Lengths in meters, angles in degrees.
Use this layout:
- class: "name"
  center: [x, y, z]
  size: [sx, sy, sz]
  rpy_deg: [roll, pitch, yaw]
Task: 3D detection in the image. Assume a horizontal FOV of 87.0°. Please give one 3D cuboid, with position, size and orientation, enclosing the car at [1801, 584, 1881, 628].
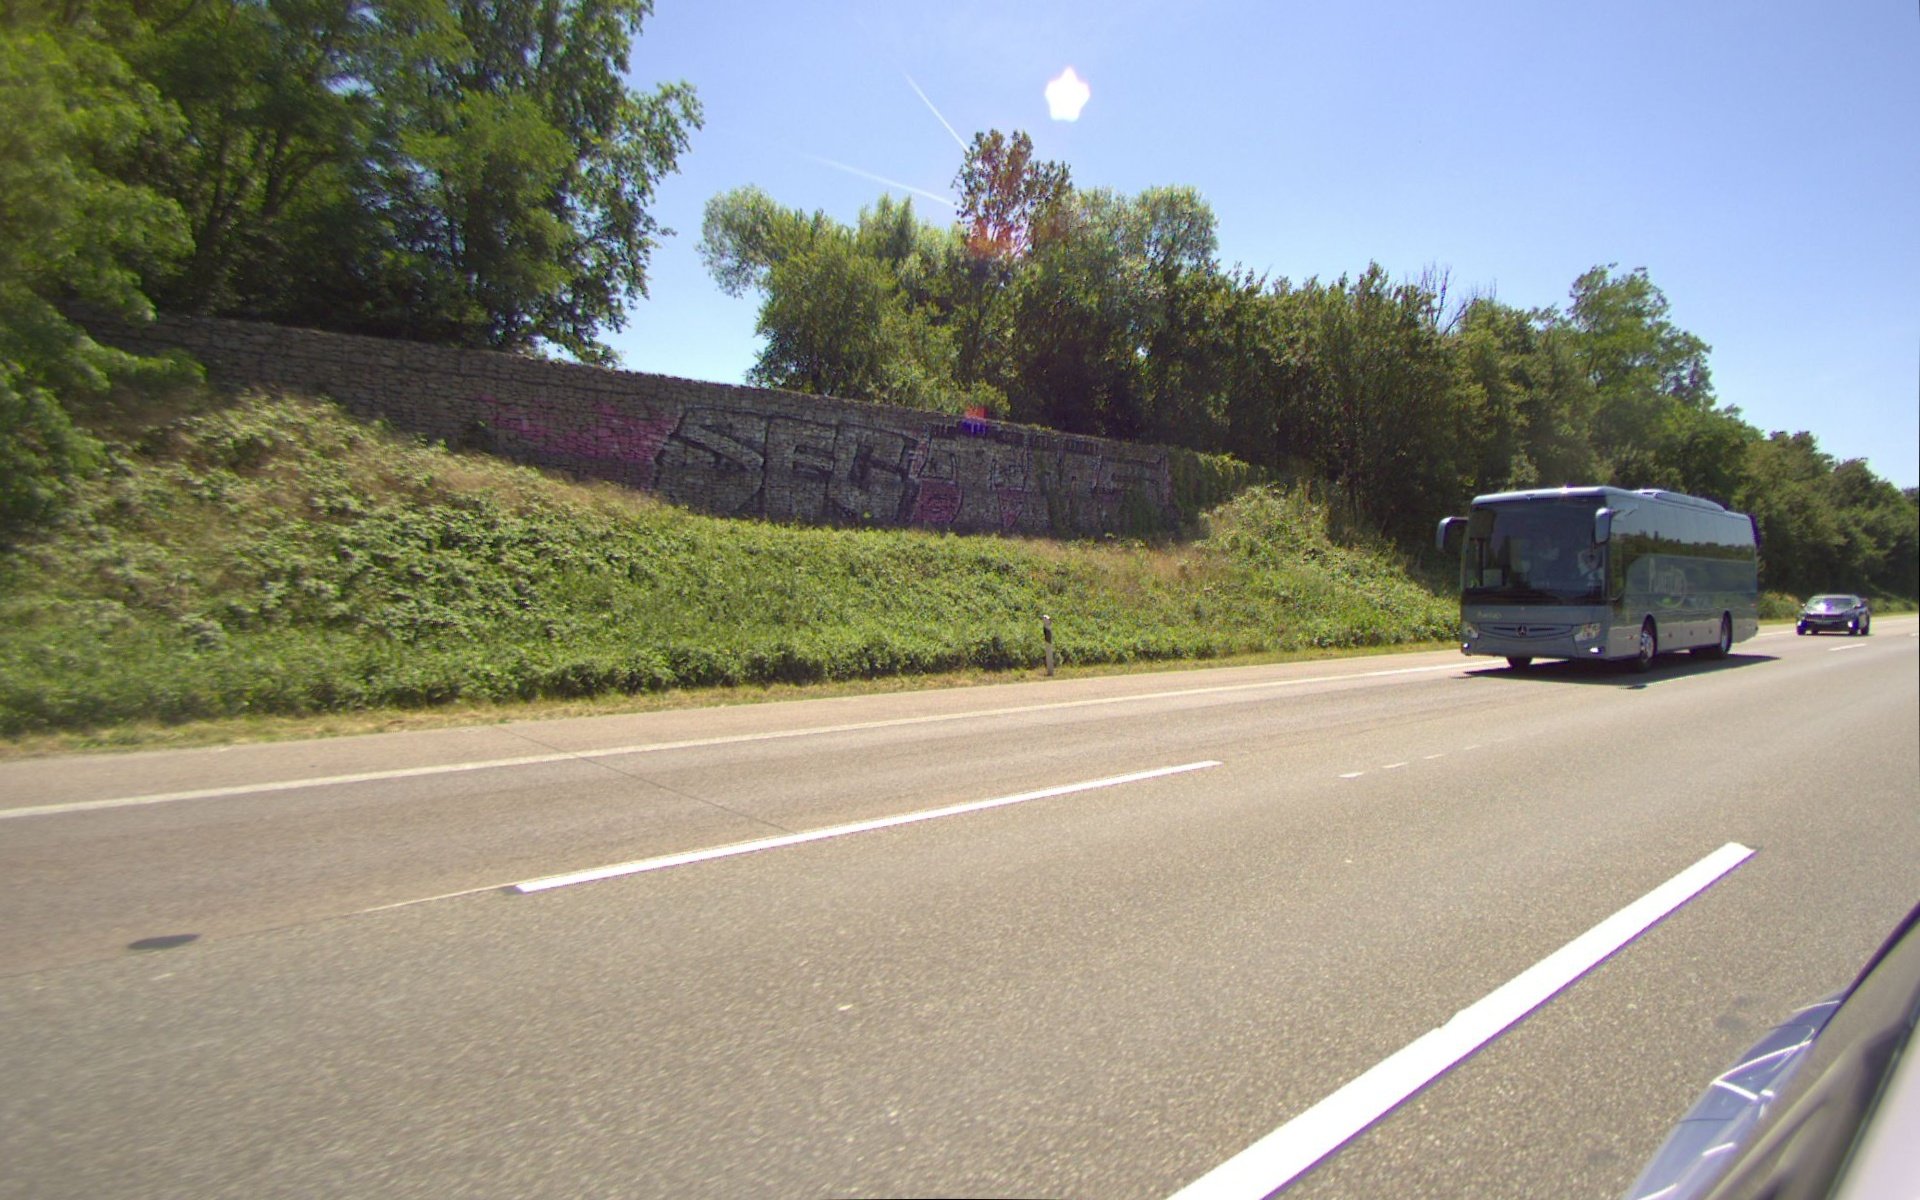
- class: "car"
  center: [34.147, 0.194, 39.181]
  size: [3.930, 1.636, 1.813]
  rpy_deg: [-1, 1, -41]

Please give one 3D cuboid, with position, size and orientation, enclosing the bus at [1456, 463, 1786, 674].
- class: "bus"
  center: [15.349, -0.624, 22.650]
  size: [13.444, 3.597, 2.615]
  rpy_deg: [-1, 1, -41]
